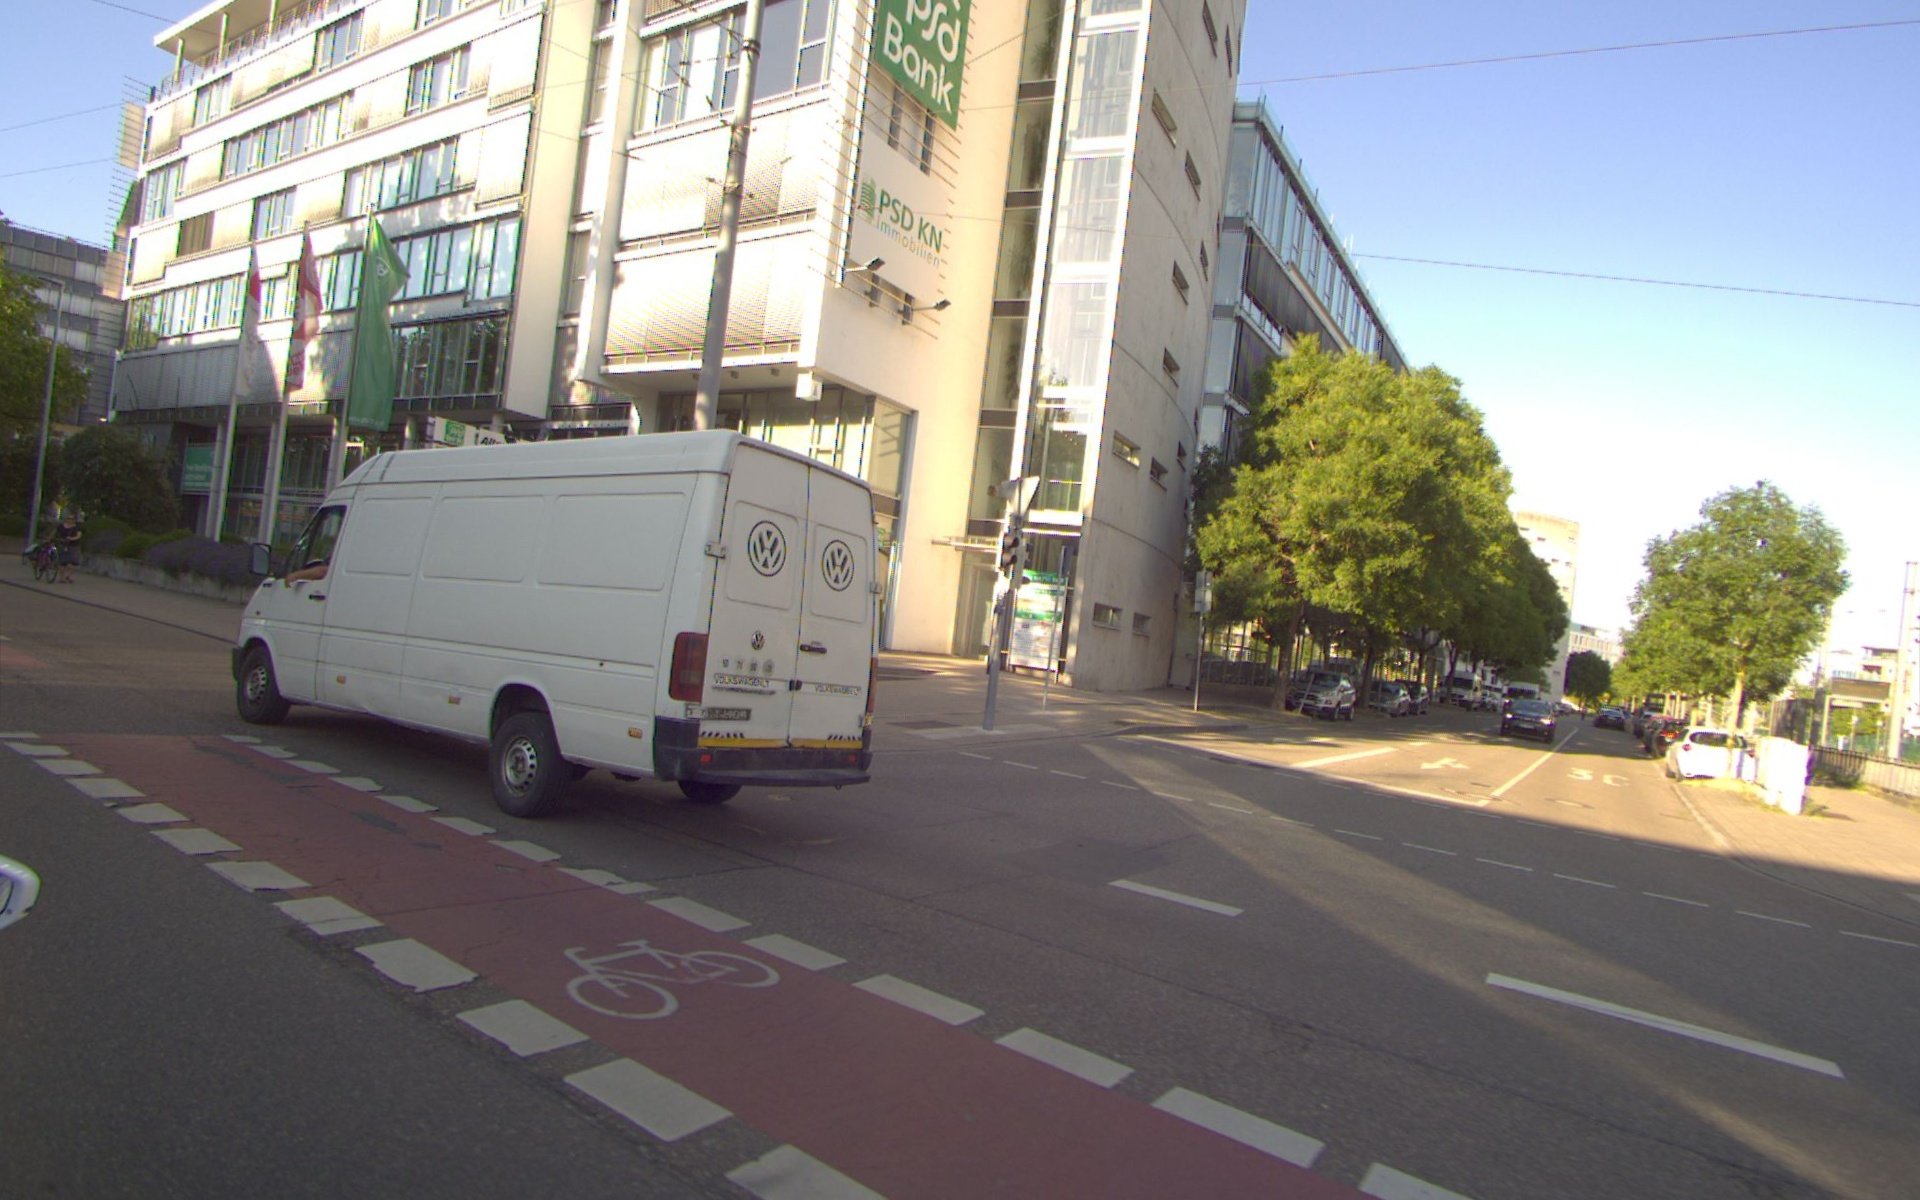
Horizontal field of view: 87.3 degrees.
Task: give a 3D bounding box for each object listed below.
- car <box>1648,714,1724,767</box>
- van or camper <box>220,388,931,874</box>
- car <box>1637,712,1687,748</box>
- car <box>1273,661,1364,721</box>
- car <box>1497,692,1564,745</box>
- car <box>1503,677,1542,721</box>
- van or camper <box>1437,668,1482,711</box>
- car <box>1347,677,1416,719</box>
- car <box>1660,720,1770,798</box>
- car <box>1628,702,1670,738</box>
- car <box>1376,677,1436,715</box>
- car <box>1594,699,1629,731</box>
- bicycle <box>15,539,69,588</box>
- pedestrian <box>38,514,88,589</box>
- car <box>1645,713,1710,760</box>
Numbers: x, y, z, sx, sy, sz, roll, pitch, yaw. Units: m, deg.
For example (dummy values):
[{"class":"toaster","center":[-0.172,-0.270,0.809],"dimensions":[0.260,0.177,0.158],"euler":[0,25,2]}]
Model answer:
[{"class":"car","center":[27.332,5.256,37.991],"dimensions":[1.968,1.620,3.992],"euler":[6,-2,33]},{"class":"van or camper","center":[-3.464,0.020,8.224],"dimensions":[6.205,2.747,1.972],"euler":[6,-2,34]},{"class":"car","center":[38.508,7.081,55.274],"dimensions":[1.968,1.620,3.992],"euler":[6,-2,33]},{"class":"car","center":[12.517,3.177,34.997],"dimensions":[1.955,1.715,3.992],"euler":[6,-2,33]},{"class":"car","center":[23.249,4.792,40.937],"dimensions":[1.955,1.716,3.992],"euler":[8,-1,33]},{"class":"car","center":[40.603,7.162,72.525],"dimensions":[2.022,2.703,5.014],"euler":[6,-3,32]},{"class":"van or camper","center":[33.330,5.979,67.056],"dimensions":[1.955,2.533,4.393],"euler":[6,-1,33]},{"class":"car","center":[18.736,4.344,44.643],"dimensions":[1.955,1.512,4.393],"euler":[6,-2,33]},{"class":"car","center":[20.454,4.246,27.412],"dimensions":[1.968,1.631,3.992],"euler":[6,-2,33]},{"class":"car","center":[44.437,7.724,64.917],"dimensions":[1.968,1.944,3.992],"euler":[6,-2,33]},{"class":"car","center":[22.037,4.753,49.627],"dimensions":[1.955,1.512,4.393],"euler":[6,-2,33]},{"class":"car","center":[48.267,8.537,74.507],"dimensions":[1.968,1.931,3.994],"euler":[6,-3,34]},{"class":"bicycle","center":[-21.958,-0.887,24.054],"dimensions":[2.167,0.988,0.520],"euler":[6,3,36]},{"class":"pedestrian","center":[-21.749,-1.174,24.393],"dimensions":[0.641,1.700,0.646],"euler":[6,-1,37]},{"class":"car","center":[30.708,5.814,43.165],"dimensions":[1.968,1.620,3.992],"euler":[6,-2,33]}]
